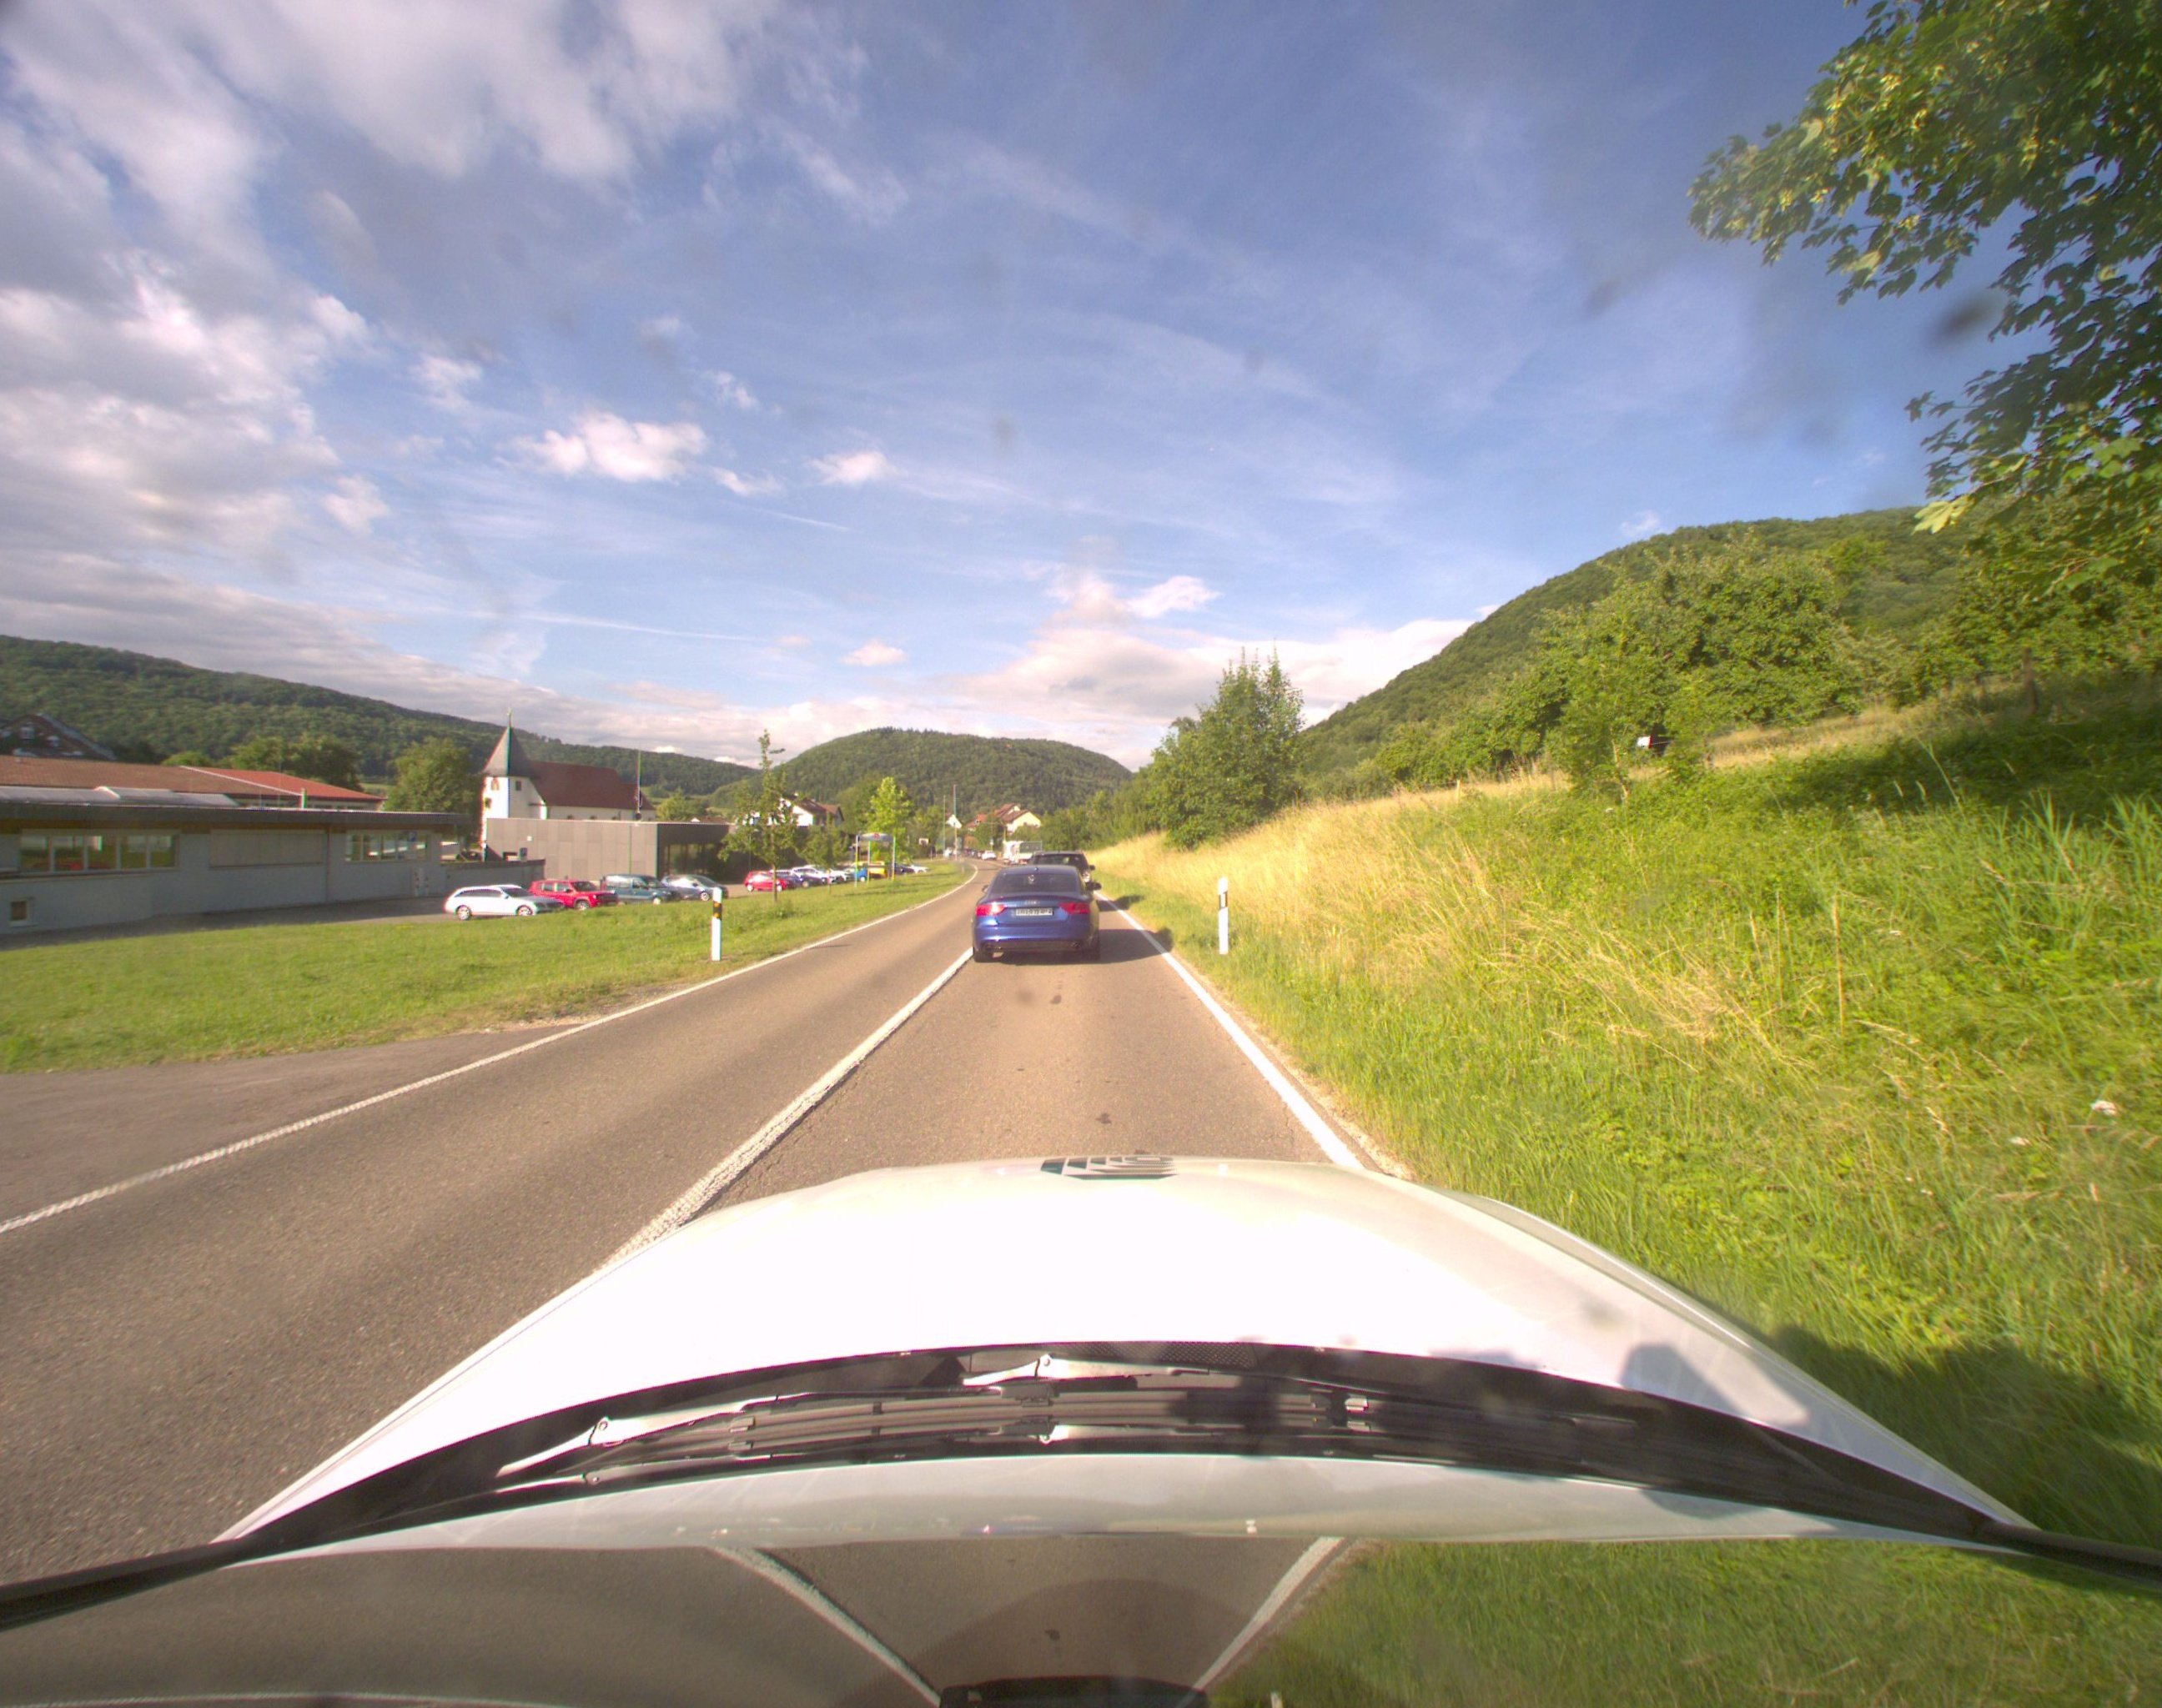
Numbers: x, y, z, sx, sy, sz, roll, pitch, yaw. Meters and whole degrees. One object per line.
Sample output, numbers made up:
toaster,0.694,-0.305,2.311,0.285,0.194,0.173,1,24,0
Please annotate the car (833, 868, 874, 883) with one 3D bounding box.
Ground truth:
car,-21.744,2.052,77.928,3.359,1.373,1.659,-2,0,-1

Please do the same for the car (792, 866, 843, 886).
car,-22.213,1.846,68.743,3.647,1.494,1.599,-2,0,6

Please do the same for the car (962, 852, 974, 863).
car,-21.099,0.619,152.137,1.681,1.924,3.976,-2,0,-17

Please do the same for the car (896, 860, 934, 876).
car,-19.369,1.620,95.062,4.015,1.660,1.659,-2,0,6

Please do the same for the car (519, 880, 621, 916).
car,-25.125,2.136,40.110,3.900,1.579,1.758,-2,0,5

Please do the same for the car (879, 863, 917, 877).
car,-20.352,1.761,90.598,3.693,1.439,1.512,-2,0,6

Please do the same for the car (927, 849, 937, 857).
car,-35.772,-0.175,195.215,1.682,1.924,3.975,-2,0,-18

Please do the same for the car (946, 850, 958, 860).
car,-27.588,0.249,174.209,1.683,1.924,3.973,-2,0,-20

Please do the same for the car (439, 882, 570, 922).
car,-26.245,2.162,37.166,4.618,1.589,2.003,-2,0,5

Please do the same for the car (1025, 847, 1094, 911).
car,-0.659,0.631,22.431,1.643,1.625,3.510,0,0,-6

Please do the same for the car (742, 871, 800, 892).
car,-23.007,2.033,60.438,3.606,1.444,1.651,-2,0,6

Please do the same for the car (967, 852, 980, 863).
car,-18.797,0.602,142.181,1.663,1.924,3.978,-2,0,-16

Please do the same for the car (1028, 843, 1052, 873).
car,-2.899,0.272,57.724,1.564,2.013,3.996,-2,0,-3

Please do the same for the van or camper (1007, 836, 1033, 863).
van or camper,-6.544,-0.422,86.377,2.279,2.713,5.751,-2,0,-8

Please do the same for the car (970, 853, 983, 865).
car,-16.884,0.804,131.799,1.661,1.924,3.982,-2,0,-13

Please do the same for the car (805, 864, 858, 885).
car,-22.068,1.806,72.087,4.056,1.673,1.599,-2,-1,6

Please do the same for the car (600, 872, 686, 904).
car,-24.562,1.902,45.716,3.845,1.722,1.757,-1,0,3

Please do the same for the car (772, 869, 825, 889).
car,-22.696,2.023,65.414,3.606,1.405,1.600,-2,1,6

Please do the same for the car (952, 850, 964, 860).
car,-24.972,0.300,164.998,1.682,1.924,3.974,-2,0,-19

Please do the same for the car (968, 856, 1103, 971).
car,-0.676,0.779,12.455,1.738,1.450,3.513,-2,0,-3

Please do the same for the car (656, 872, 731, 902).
car,-23.902,2.017,50.323,3.799,1.722,1.735,-2,0,5

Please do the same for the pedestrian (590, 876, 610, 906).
pedestrian,-28.167,2.166,47.696,0.793,1.693,0.703,0,0,-8

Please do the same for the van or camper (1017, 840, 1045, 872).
van or camper,-4.151,0.159,66.991,2.049,2.505,5.801,-2,0,-5

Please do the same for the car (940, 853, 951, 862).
car,-30.154,0.739,181.569,1.958,1.924,3.979,-2,0,-15

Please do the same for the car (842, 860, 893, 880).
car,-21.097,1.597,80.559,4.529,1.815,1.844,-2,0,6

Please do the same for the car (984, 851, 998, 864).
car,-13.280,0.505,120.316,1.660,1.924,3.985,-2,0,-11
